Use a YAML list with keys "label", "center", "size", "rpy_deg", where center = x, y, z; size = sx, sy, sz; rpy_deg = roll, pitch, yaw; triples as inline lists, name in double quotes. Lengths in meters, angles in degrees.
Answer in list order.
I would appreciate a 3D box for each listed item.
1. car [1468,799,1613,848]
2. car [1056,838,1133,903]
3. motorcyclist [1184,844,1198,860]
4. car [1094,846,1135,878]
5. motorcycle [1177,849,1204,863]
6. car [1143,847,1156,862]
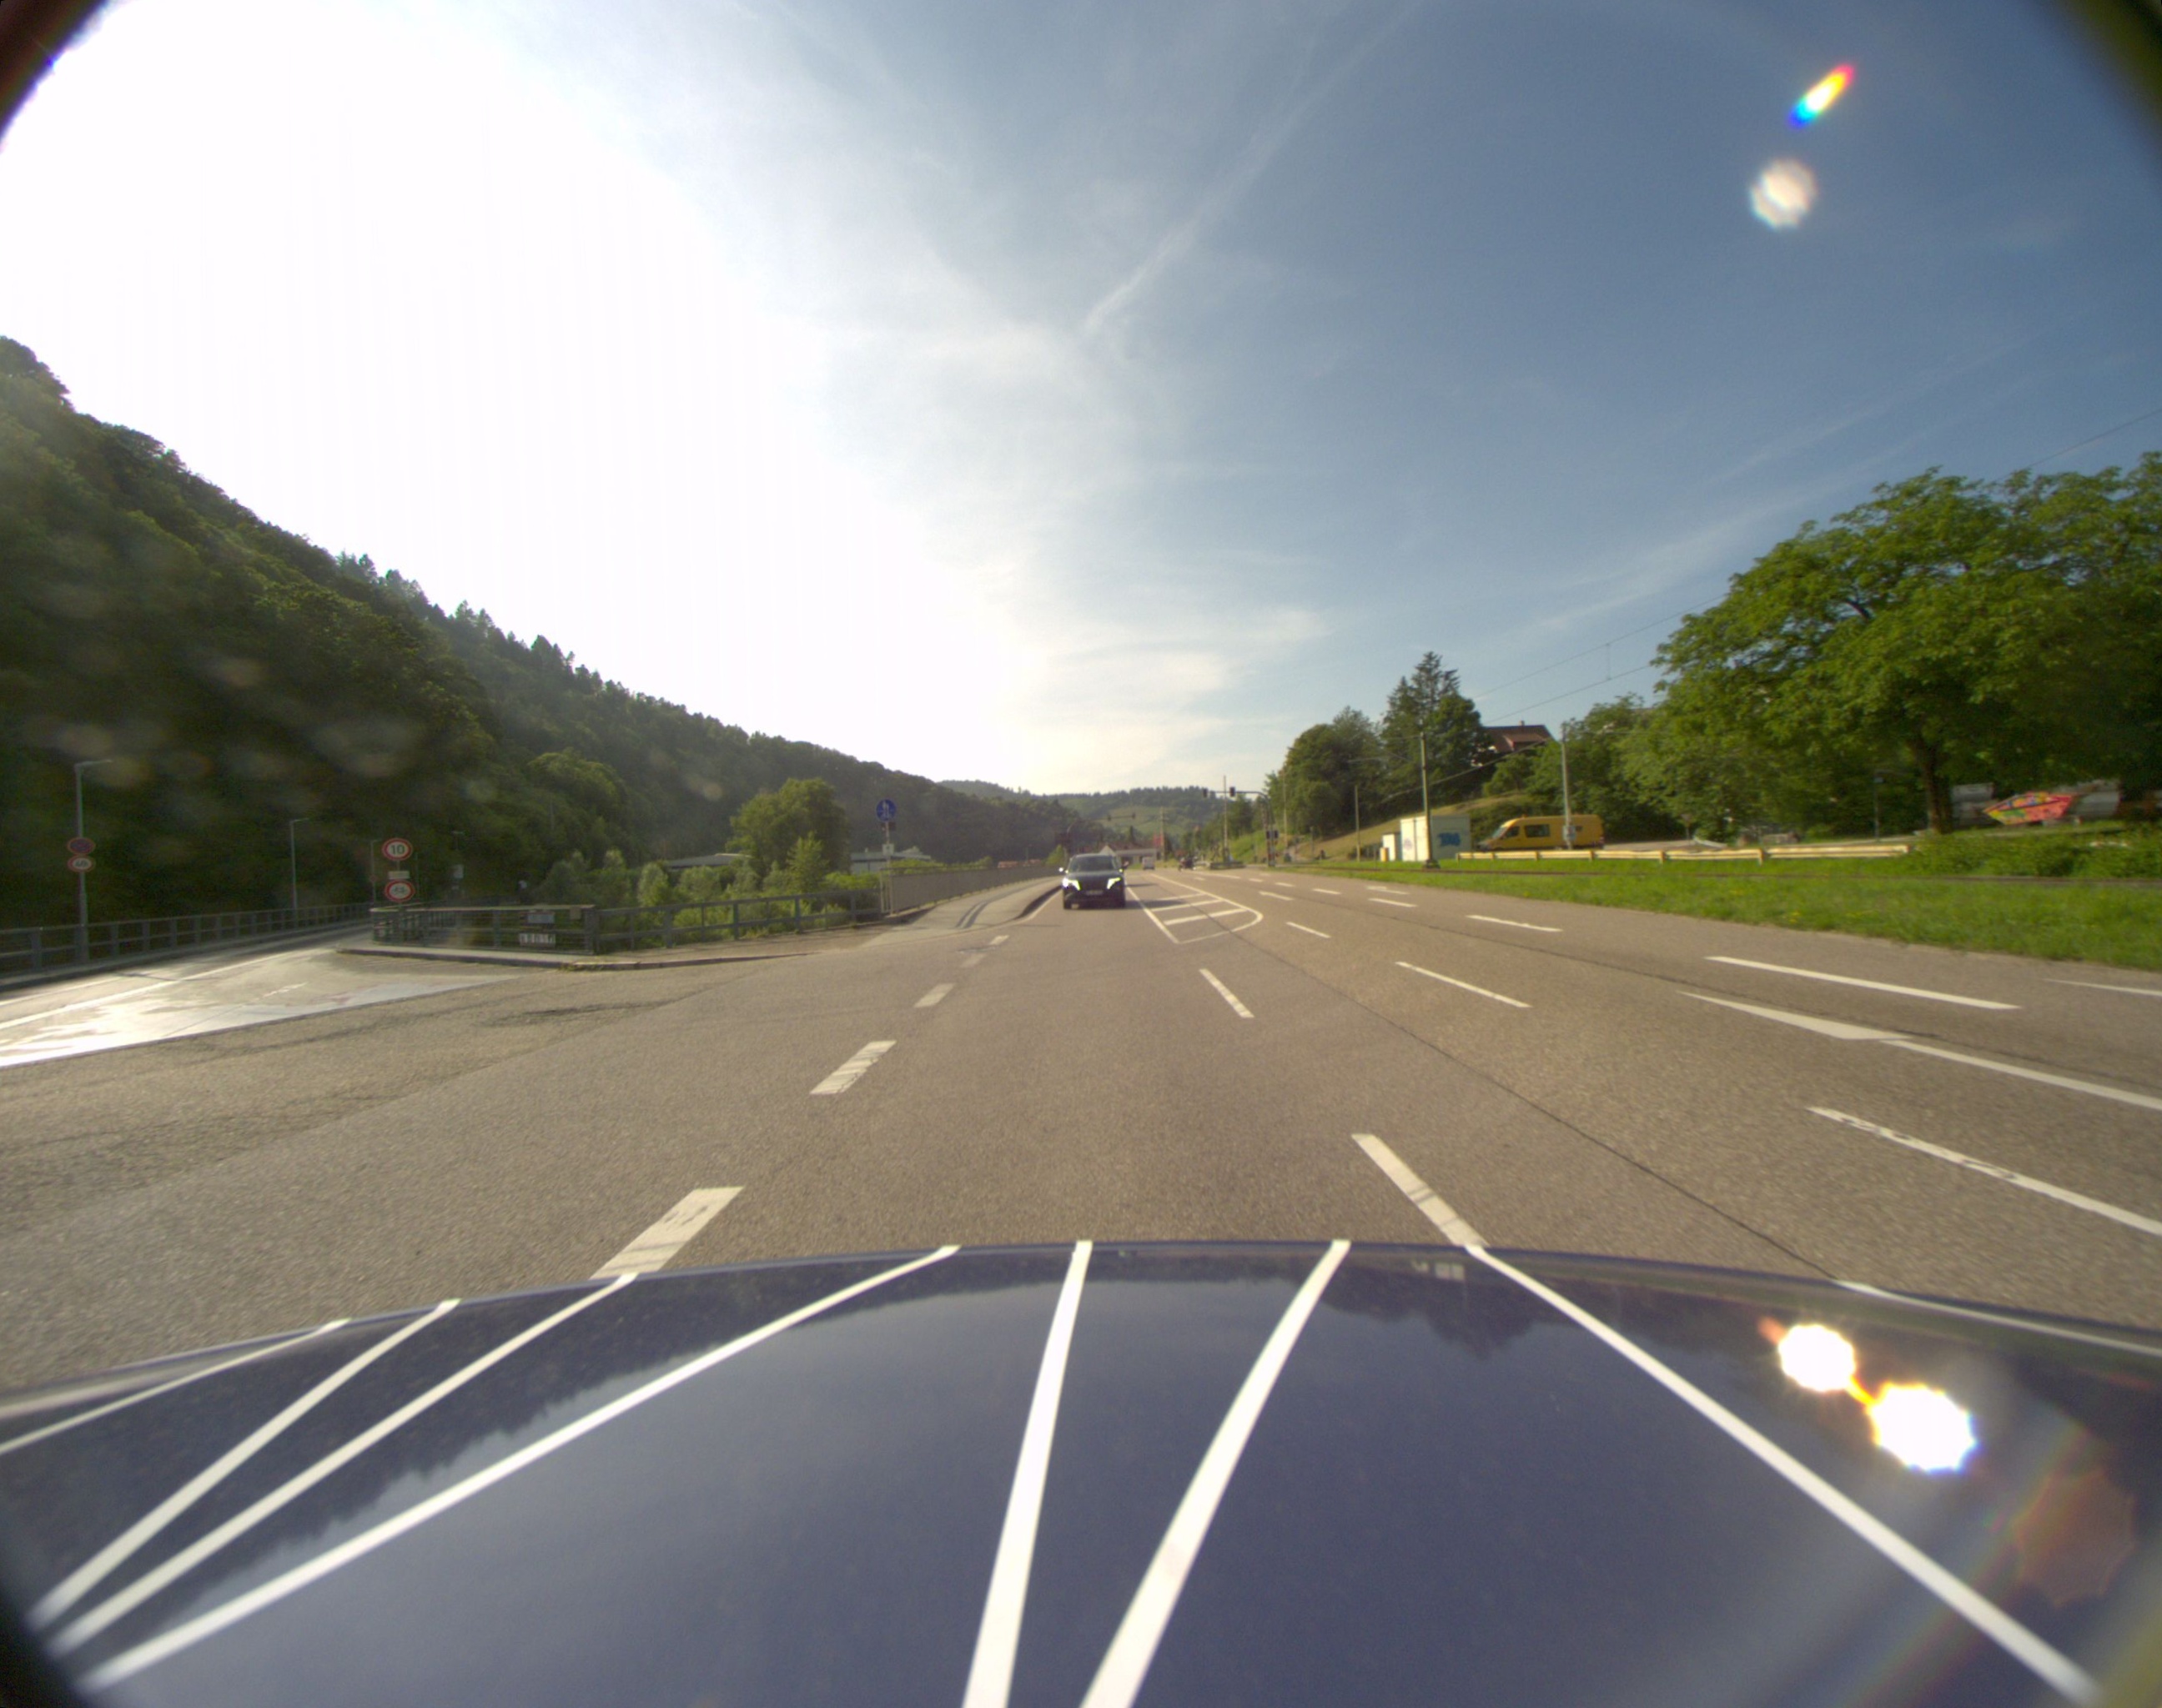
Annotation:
- label: "car"
  center: [28.423, -1.836, 47.371]
  size: [7.076, 2.442, 2.951]
  rpy_deg: [-4, 0, 12]
- label: "car"
  center: [0.518, 0.458, 23.011]
  size: [1.998, 1.661, 5.512]
  rpy_deg: [-2, 0, 3]
- label: "motorcyclist"
  center: [11.786, -0.204, 81.422]
  size: [1.186, 1.535, 0.991]
  rpy_deg: [-5, 1, -11]
- label: "car"
  center: [1.690, 0.402, 39.550]
  size: [1.919, 1.455, 4.000]
  rpy_deg: [-4, 0, 0]
- label: "motorcycle"
  center: [11.686, 0.181, 81.391]
  size: [2.594, 1.261, 1.004]
  rpy_deg: [-5, 1, -12]
- label: "car"
  center: [12.293, 0.056, 136.526]
  size: [2.124, 2.422, 5.229]
  rpy_deg: [-4, 0, 4]
